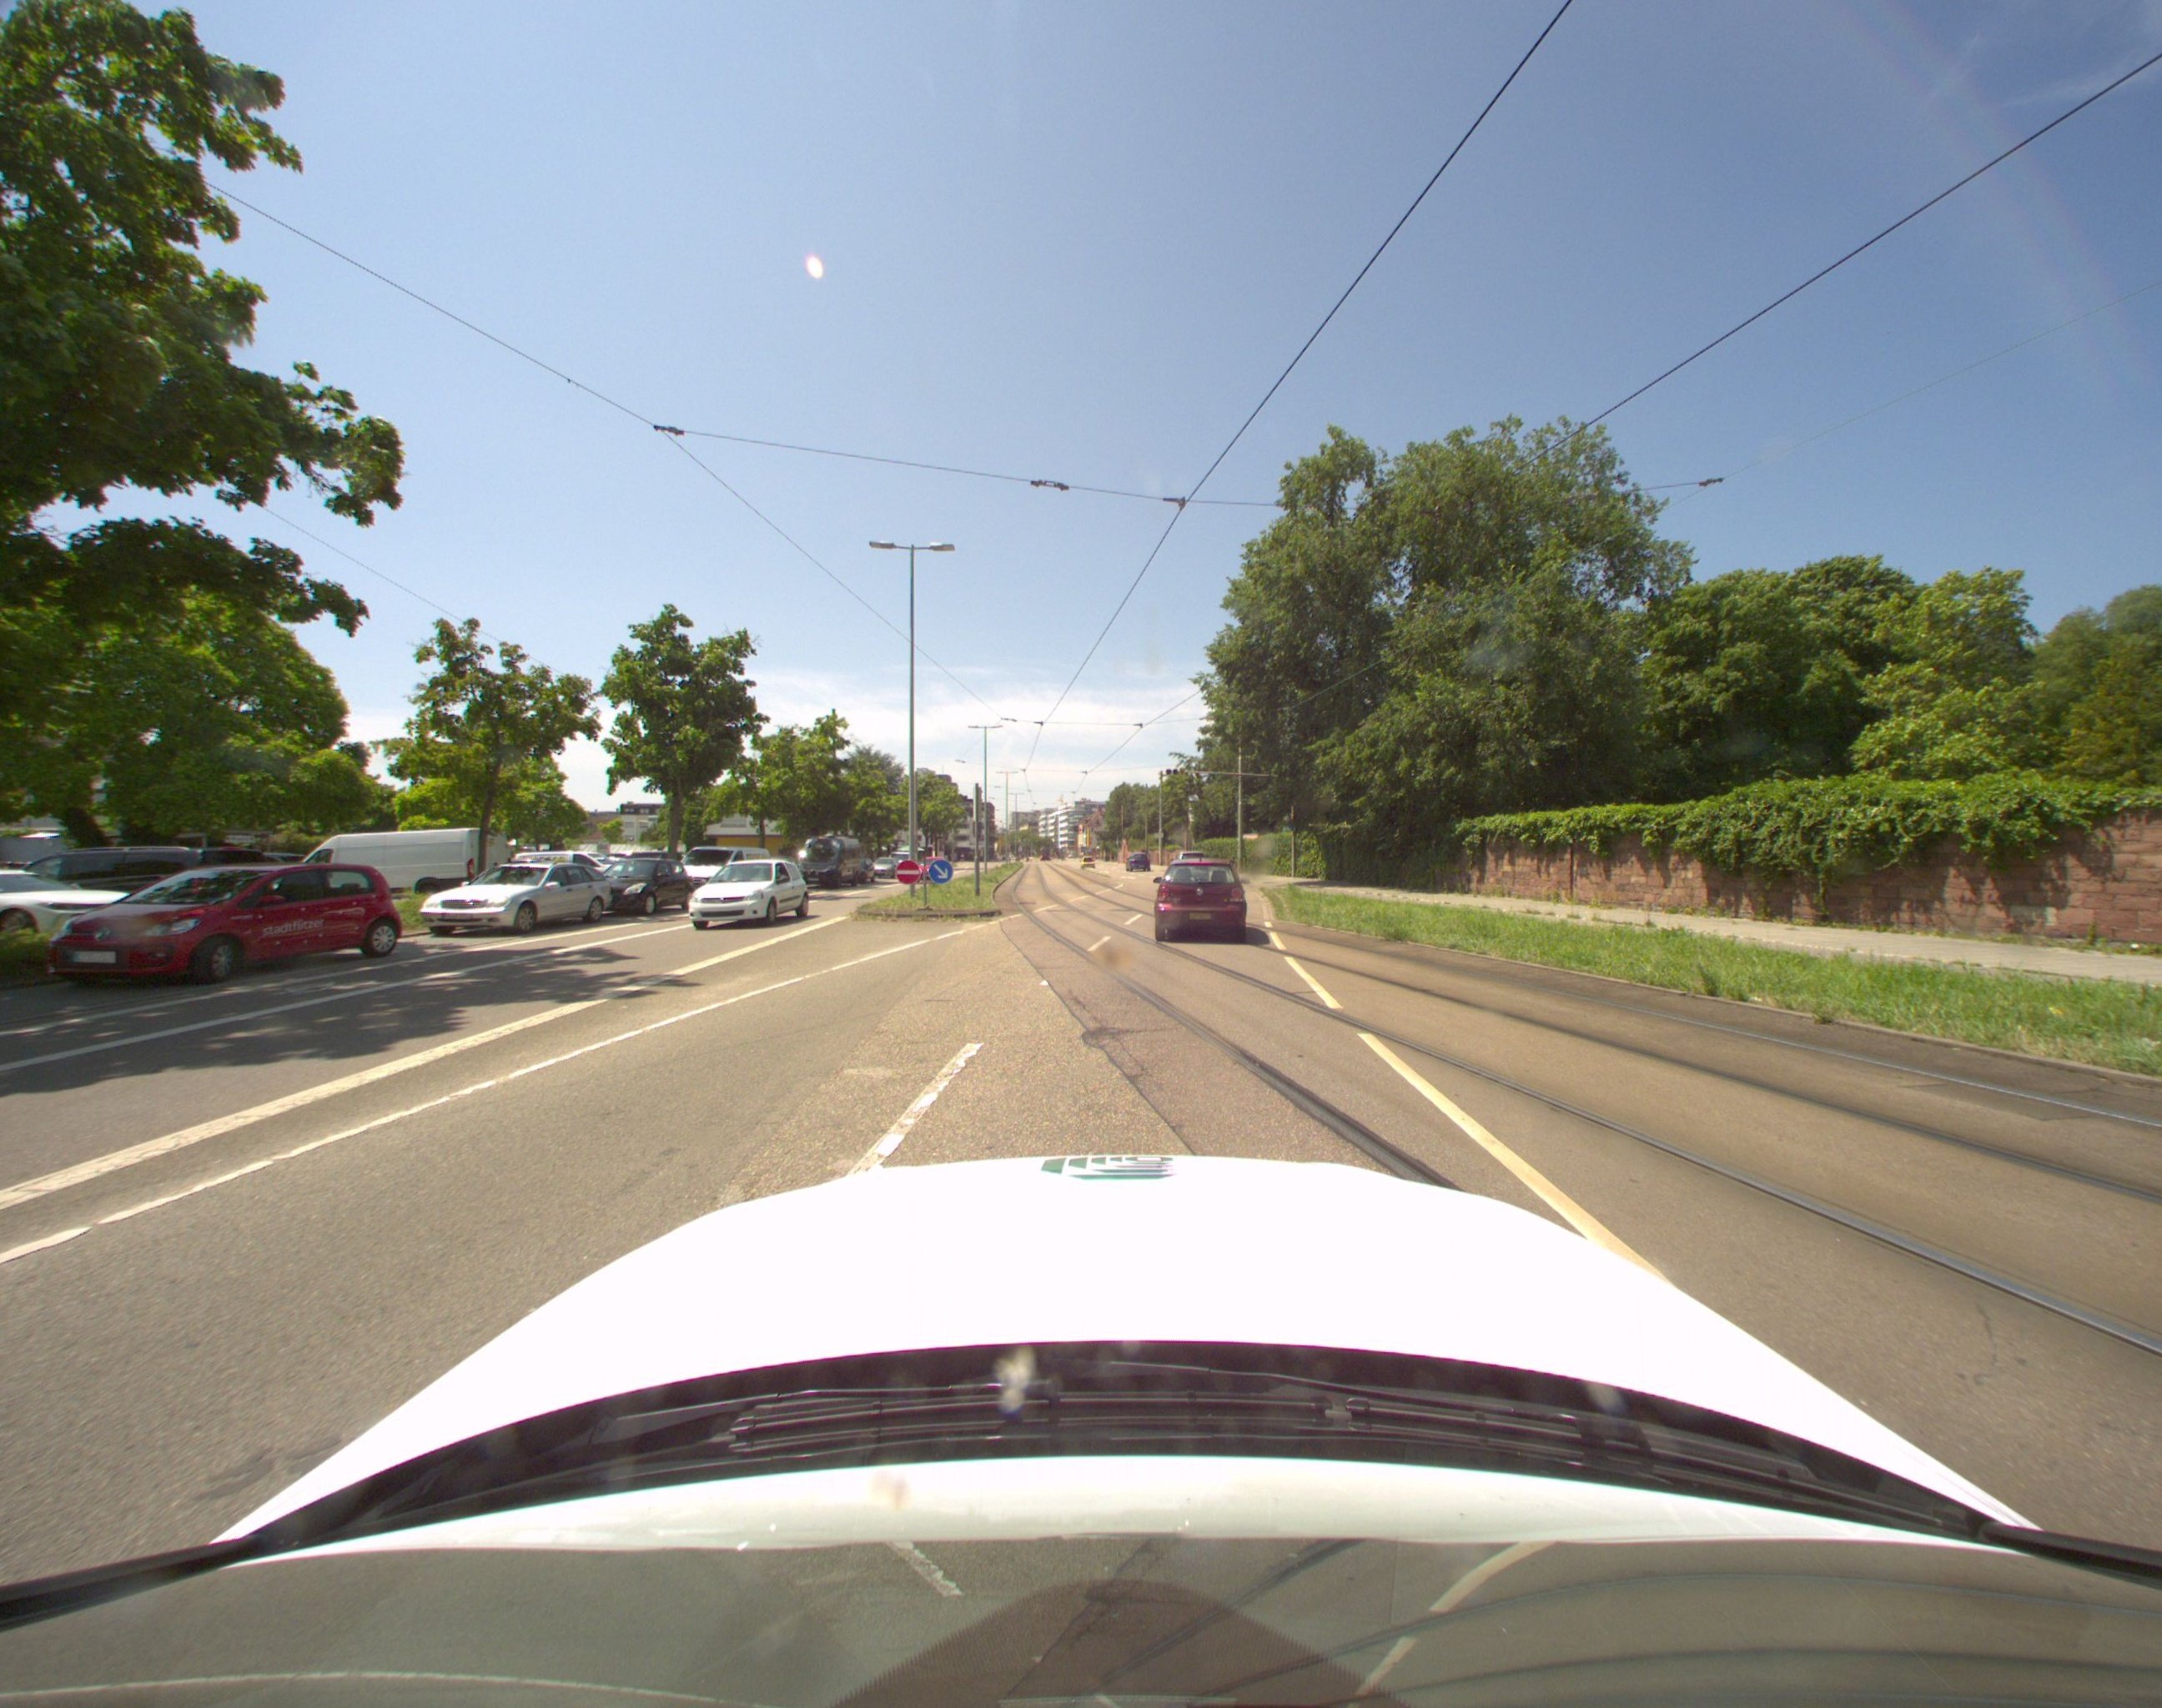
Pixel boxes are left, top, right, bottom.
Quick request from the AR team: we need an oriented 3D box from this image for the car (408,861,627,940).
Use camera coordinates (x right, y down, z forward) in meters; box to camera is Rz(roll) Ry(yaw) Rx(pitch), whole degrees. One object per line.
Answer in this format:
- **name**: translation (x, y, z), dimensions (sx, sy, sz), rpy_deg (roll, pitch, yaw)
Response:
- **car**: translation (-12.071, 0.908, 17.929), dimensions (1.715, 1.427, 4.764), rpy_deg (2, 0, -4)

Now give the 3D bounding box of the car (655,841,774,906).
- **car**: translation (-12.391, 0.623, 27.906), dimensions (1.857, 1.937, 4.803), rpy_deg (3, 0, -1)

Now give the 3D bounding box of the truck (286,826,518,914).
- **truck**: translation (-22.583, 0.495, 27.310), dimensions (5.565, 2.759, 2.430), rpy_deg (-1, 0, -3)

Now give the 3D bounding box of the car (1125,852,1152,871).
- **car**: translation (5.164, 0.660, 73.537), dimensions (1.771, 1.630, 3.992), rpy_deg (1, 0, -5)

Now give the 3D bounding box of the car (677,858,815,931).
- **car**: translation (-7.312, 0.828, 18.189), dimensions (1.645, 1.376, 3.806), rpy_deg (-2, 0, -3)

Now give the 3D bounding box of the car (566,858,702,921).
- **car**: translation (-12.135, 0.901, 22.402), dimensions (1.609, 1.484, 3.782), rpy_deg (3, 0, -1)

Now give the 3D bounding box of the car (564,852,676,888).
- **car**: translation (-23.952, 0.811, 42.427), dimensions (4.711, 1.813, 1.793), rpy_deg (-1, 0, -5)

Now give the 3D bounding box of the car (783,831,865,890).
- **car**: translation (-13.043, 0.313, 41.844), dimensions (2.393, 2.656, 6.165), rpy_deg (3, 0, -3)

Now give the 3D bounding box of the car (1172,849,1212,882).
- **car**: translation (6.127, 0.612, 45.281), dimensions (1.789, 1.683, 4.001), rpy_deg (1, 0, 1)

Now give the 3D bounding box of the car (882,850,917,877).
- **car**: translation (-14.221, 0.703, 64.131), dimensions (1.871, 1.965, 5.158), rpy_deg (-1, 0, -3)

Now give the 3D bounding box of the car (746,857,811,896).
- **car**: translation (-12.568, 0.888, 34.036), dimensions (1.402, 1.440, 3.835), rpy_deg (3, 0, -3)

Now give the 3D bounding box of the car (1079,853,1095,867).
- **car**: translation (0.708, 0.717, 100.503), dimensions (1.791, 1.683, 3.996), rpy_deg (1, 0, -3)

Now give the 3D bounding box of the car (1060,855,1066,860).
- **car**: translation (-4.126, 0.802, 186.436), dimensions (1.351, 1.252, 2.969), rpy_deg (1, 0, -3)

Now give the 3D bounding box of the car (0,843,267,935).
- **car**: translation (-22.222, 0.769, 19.066), dimensions (4.203, 1.995, 1.853), rpy_deg (-1, 0, -5)

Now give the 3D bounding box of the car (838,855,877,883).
- **car**: translation (-13.115, 0.835, 47.997), dimensions (1.309, 1.522, 4.019), rpy_deg (3, 0, -3)

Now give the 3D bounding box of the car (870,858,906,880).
- **car**: translation (-13.726, 1.064, 58.056), dimensions (1.627, 1.420, 3.865), rpy_deg (2, 0, -1)

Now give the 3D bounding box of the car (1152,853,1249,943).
- **car**: translation (2.265, 0.748, 15.720), dimensions (1.601, 1.498, 4.008), rpy_deg (-1, 0, 7)

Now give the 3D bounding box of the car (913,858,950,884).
- **car**: translation (-8.769, 0.965, 47.962), dimensions (1.654, 1.410, 3.601), rpy_deg (-2, 0, -4)

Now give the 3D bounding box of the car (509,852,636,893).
- **car**: translation (-23.653, 0.842, 38.022), dimensions (4.711, 1.813, 1.793), rpy_deg (-1, 0, -5)

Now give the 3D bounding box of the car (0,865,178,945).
- **car**: translation (-22.138, 1.018, 16.640), dimensions (4.754, 1.488, 2.054), rpy_deg (-1, 0, -5)

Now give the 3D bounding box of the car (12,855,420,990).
- **car**: translation (-11.548, 0.818, 11.319), dimensions (1.667, 1.546, 3.725), rpy_deg (1, -1, -1)

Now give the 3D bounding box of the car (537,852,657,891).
- **car**: translation (-23.790, 0.838, 40.172), dimensions (4.711, 1.813, 1.793), rpy_deg (-1, 0, -5)
